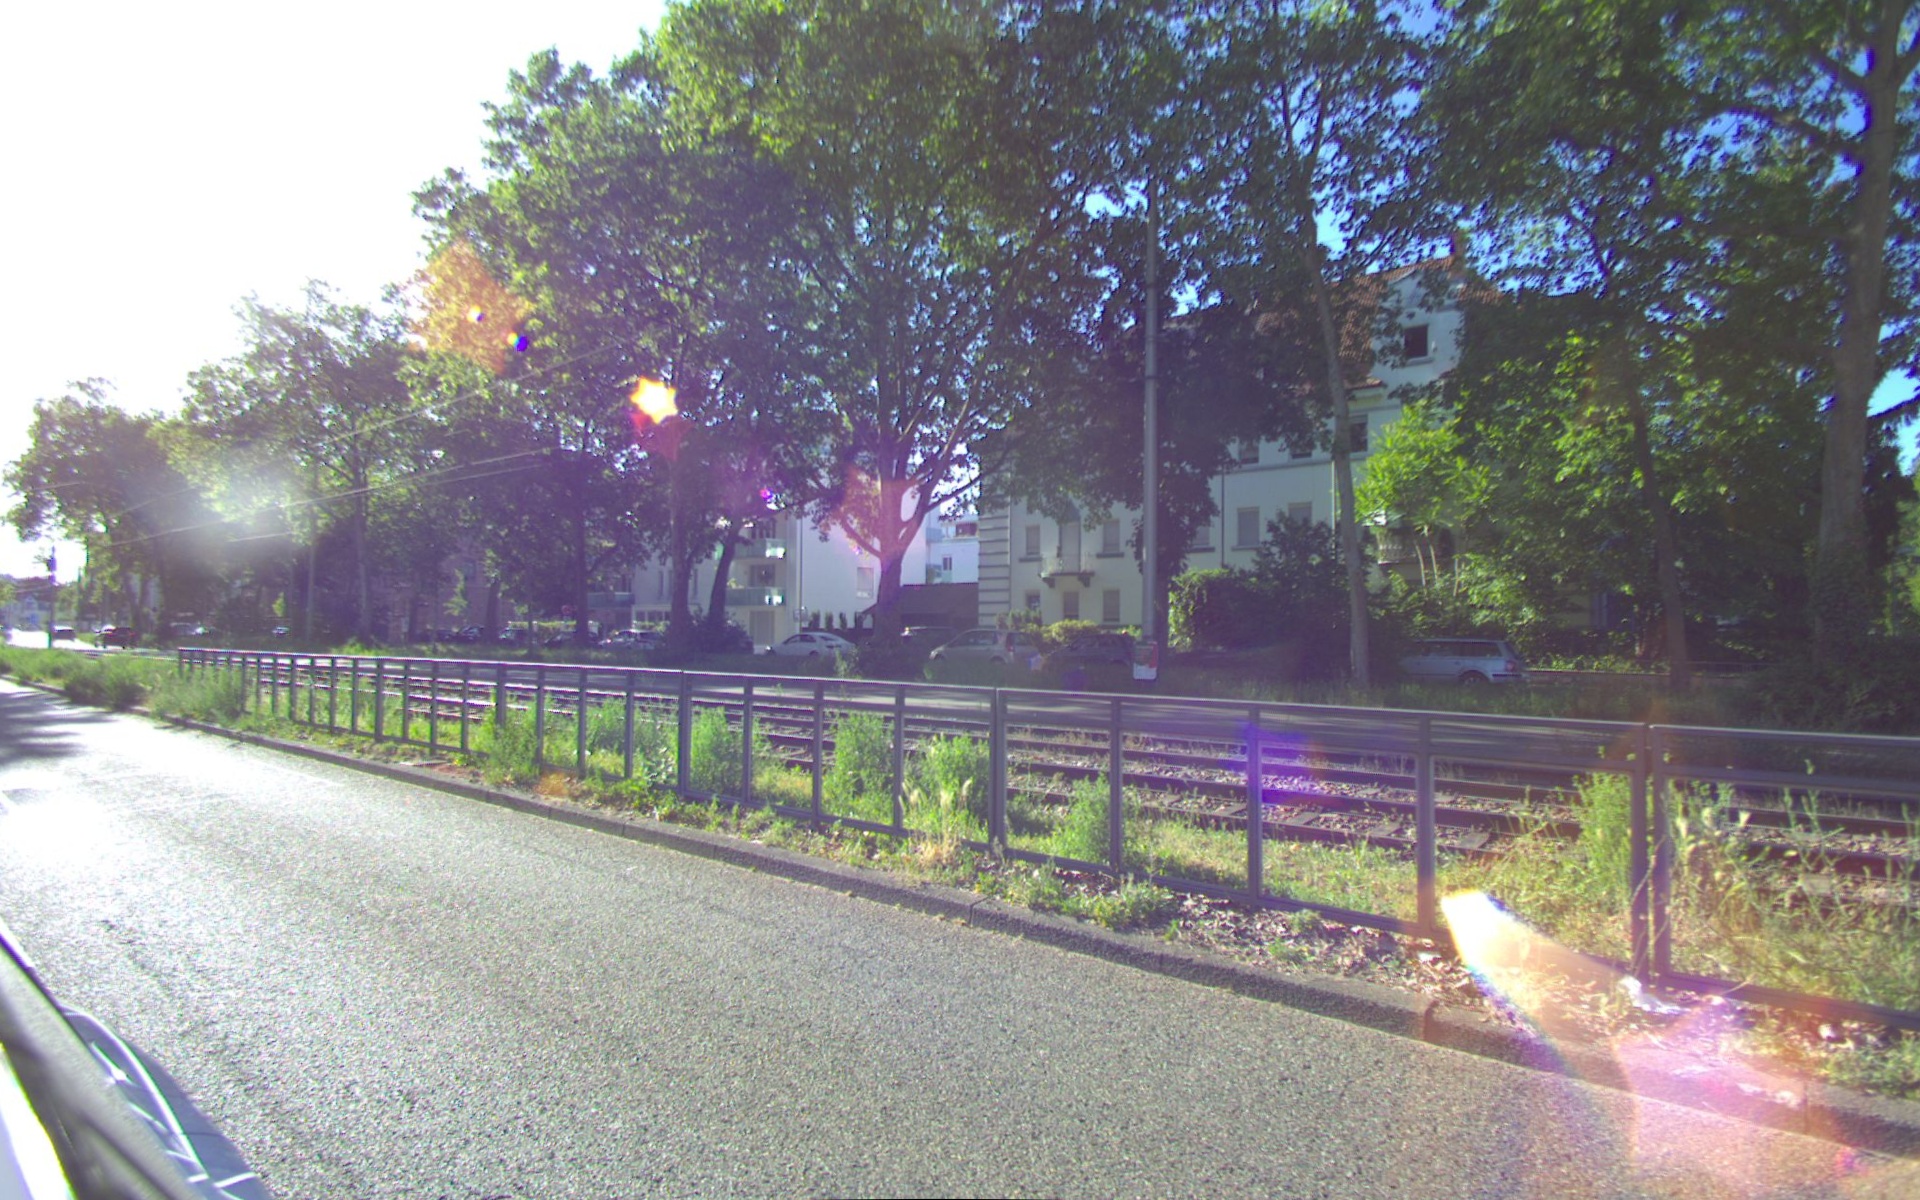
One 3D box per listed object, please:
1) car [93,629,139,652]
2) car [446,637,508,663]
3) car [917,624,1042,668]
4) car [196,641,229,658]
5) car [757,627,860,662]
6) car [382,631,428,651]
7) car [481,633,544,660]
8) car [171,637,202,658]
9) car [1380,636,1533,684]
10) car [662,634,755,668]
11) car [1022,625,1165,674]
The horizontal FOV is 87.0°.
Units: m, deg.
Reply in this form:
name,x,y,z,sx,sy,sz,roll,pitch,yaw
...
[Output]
name,x,y,z,sx,sy,sz,roll,pitch,yaw
car,-62.818,3.019,75.301,4.456,1.660,1.839,-2,-3,39
car,-29.343,3.026,61.427,3.998,1.497,1.972,-2,-2,41
car,0.627,1.582,35.396,4.317,1.451,1.717,-2,-2,41
car,-71.085,4.713,96.202,3.686,1.497,1.748,-2,-2,41
car,-6.219,1.812,41.226,4.459,1.334,1.623,-2,-4,41
car,-43.998,3.218,80.211,3.998,1.497,1.972,-2,-2,41
car,-25.691,2.621,58.085,3.998,1.484,1.778,-2,-3,41
car,-78.075,4.760,102.185,1.971,2.029,4.002,2,-2,-45
car,12.380,1.467,25.309,3.213,1.125,1.458,-2,-2,38
car,-11.388,2.262,45.746,4.317,1.464,1.972,-2,-2,41
car,4.190,1.533,32.177,4.319,1.452,1.765,-2,-3,43
